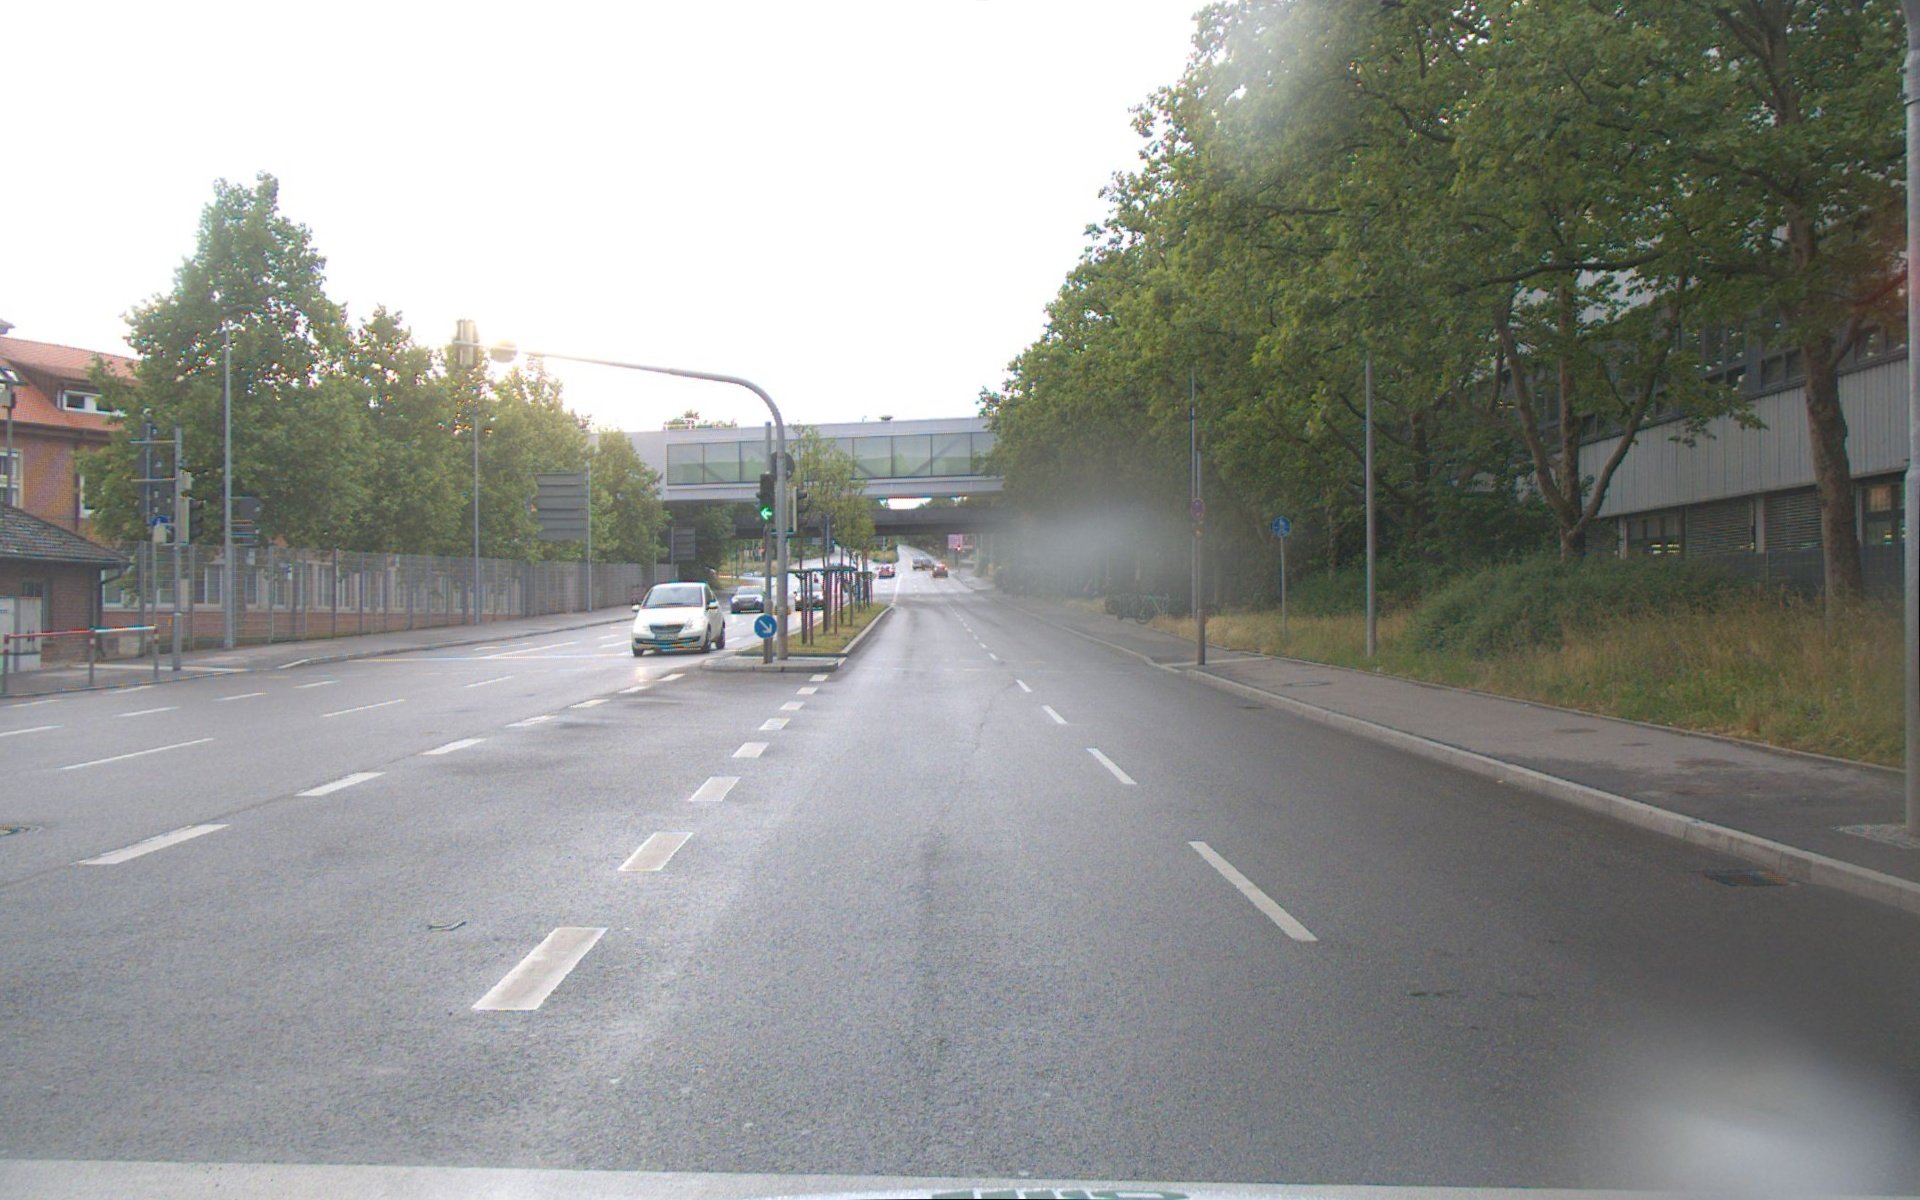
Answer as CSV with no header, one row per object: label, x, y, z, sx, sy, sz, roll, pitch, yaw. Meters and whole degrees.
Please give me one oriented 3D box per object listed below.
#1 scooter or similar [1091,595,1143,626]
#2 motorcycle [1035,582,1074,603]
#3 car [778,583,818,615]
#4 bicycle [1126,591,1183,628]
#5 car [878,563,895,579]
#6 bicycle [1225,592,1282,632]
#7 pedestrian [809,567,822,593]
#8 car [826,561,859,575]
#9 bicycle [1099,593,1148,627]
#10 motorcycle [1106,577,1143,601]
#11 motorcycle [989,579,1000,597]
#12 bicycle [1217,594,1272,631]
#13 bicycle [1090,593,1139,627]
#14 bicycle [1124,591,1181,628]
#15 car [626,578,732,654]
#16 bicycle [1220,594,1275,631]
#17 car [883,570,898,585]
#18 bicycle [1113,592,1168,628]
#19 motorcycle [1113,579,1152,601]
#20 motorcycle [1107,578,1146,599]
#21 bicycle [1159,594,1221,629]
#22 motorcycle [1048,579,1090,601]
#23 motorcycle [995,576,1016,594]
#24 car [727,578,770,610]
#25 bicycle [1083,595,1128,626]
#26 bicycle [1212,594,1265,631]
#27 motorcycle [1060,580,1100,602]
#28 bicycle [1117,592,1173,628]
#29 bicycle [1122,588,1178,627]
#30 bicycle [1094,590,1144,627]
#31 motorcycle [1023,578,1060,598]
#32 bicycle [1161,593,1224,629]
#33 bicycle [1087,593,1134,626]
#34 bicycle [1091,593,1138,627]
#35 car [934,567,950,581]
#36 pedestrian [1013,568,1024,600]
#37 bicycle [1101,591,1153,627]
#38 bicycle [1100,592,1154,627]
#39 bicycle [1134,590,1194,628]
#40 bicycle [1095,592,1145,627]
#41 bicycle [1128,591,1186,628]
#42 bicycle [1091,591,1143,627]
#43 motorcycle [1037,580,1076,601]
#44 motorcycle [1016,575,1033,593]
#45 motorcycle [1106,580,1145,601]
scooter or similar,6.084,0.411,64.125,1.949,1.157,0.541,2,-1,0
motorcycle,5.708,-0.455,99.935,2.318,1.223,0.723,-1,0,7
car,-8.751,-0.087,89.519,1.839,1.653,3.778,-1,0,-1
bicycle,6.941,0.338,59.081,1.949,1.263,0.541,2,-1,0
car,-9.162,-3.612,206.607,1.953,1.792,3.999,2,-1,-1
bicycle,10.666,0.439,60.085,1.949,1.352,0.576,2,-1,0
pedestrian,-11.455,-1.609,131.428,0.854,2.039,0.855,-1,0,3
car,-16.745,-4.538,235.757,4.419,1.792,1.904,2,-1,-1
bicycle,6.789,0.407,68.589,1.949,1.352,0.576,2,-1,0
motorcycle,10.688,-0.722,107.285,2.318,1.502,0.723,-1,0,7
motorcycle,2.995,-1.013,144.774,0.774,1.560,2.375,-1,0,-2
bicycle,10.793,0.478,62.844,1.949,1.352,0.576,2,-1,0
bicycle,6.458,0.417,69.295,1.949,1.352,0.576,2,-1,0
bicycle,6.941,0.346,59.655,1.949,1.263,0.541,2,-1,0
car,-6.523,0.340,38.720,1.839,1.653,3.778,-1,0,-1
bicycle,10.802,0.470,62.179,1.949,1.352,0.576,2,-1,0
car,-8.922,-2.853,212.471,1.846,1.792,3.968,2,-1,-1
bicycle,6.772,0.370,62.055,1.949,1.263,0.541,2,-1,0
motorcycle,10.334,-0.594,99.139,2.318,1.223,0.723,-1,0,7
motorcycle,10.204,-0.682,101.516,2.318,1.223,0.723,-1,0,7
bicycle,7.593,0.379,54.615,1.949,1.114,0.541,2,-1,0
motorcycle,6.248,-0.559,94.890,2.318,1.223,0.723,-1,0,7
motorcycle,3.459,-1.153,125.490,0.778,1.334,2.364,-1,0,-19
car,-11.161,-0.315,87.516,1.839,1.653,3.778,-1,0,-1
bicycle,6.549,0.473,74.543,1.923,1.352,0.654,2,-1,0
bicycle,10.798,0.494,64.161,1.949,1.352,0.576,2,-1,0
motorcycle,7.046,-0.536,97.047,2.318,1.223,0.723,-1,0,7
bicycle,6.815,0.358,61.021,1.949,1.263,0.541,2,-1,0
bicycle,6.921,0.286,60.332,1.949,1.364,0.541,2,-1,0
bicycle,6.508,0.336,67.731,1.949,1.455,0.723,2,-1,0
motorcycle,5.191,-0.776,105.604,2.318,1.223,0.723,-1,0,7
bicycle,7.601,0.372,54.047,1.949,1.114,0.541,2,-1,0
bicycle,6.482,0.430,71.223,1.923,1.352,0.654,2,-1,0
bicycle,6.577,0.424,70.534,1.920,1.352,0.576,2,-1,0
car,-2.182,-3.162,203.030,1.837,1.523,4.067,2,-1,-1
pedestrian,3.744,-1.021,106.302,0.609,2.049,0.605,-1,0,-1
bicycle,6.595,0.372,65.246,1.949,1.352,0.576,2,-1,0
bicycle,6.393,0.373,63.338,1.949,1.263,0.541,2,-1,0
bicycle,6.904,0.313,56.064,1.949,1.237,0.541,2,-1,0
bicycle,6.476,0.389,66.997,1.949,1.352,0.576,2,-1,0
bicycle,6.936,0.332,58.254,1.949,1.255,0.541,2,-1,0
bicycle,6.266,0.371,66.050,1.949,1.352,0.576,2,-1,0
motorcycle,5.911,-0.561,101.710,2.318,1.223,0.723,-1,0,7
motorcycle,4.779,-1.174,122.364,0.775,1.334,2.371,-1,0,-9
motorcycle,10.052,-0.553,100.396,2.318,1.223,0.723,-1,0,7
